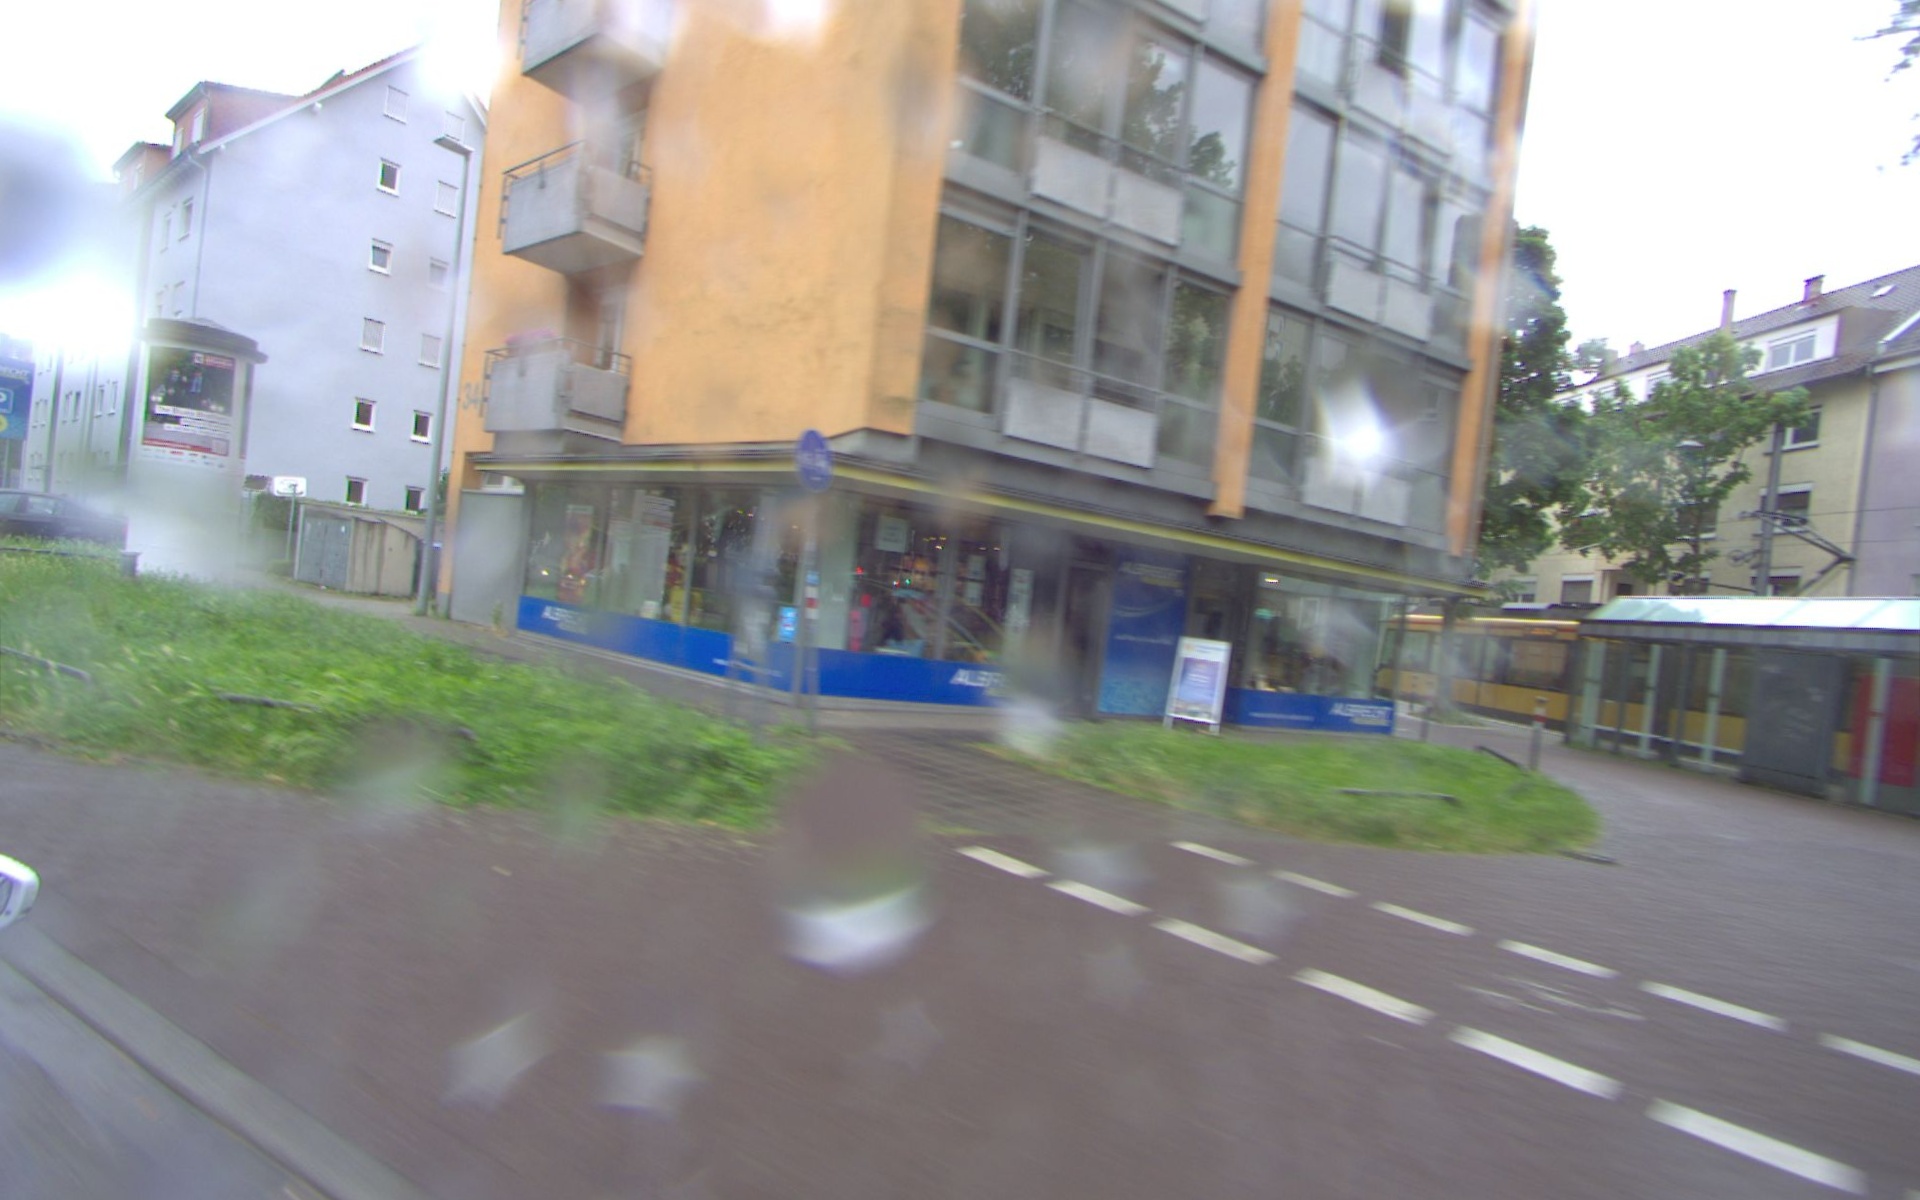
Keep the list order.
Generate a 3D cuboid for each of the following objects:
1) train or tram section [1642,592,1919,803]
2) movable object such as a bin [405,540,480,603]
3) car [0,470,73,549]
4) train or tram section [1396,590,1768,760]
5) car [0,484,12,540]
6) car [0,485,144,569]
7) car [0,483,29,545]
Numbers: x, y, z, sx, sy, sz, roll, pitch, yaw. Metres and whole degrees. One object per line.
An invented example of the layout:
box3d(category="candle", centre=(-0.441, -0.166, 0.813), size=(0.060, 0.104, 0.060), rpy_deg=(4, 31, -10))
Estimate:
box3d(category="train or tram section", centre=(16.677, 1.717, 17.766), size=(2.599, 3.392, 8.368), rpy_deg=(7, 0, -5))
box3d(category="movable object such as a bin", centre=(-13.213, -0.727, 25.682), size=(1.200, 1.400, 1.197), rpy_deg=(7, 1, 38))
box3d(category="car", centre=(-25.116, -2.443, 25.022), size=(1.915, 1.828, 4.229), rpy_deg=(7, 1, 37))
box3d(category="train or tram section", centre=(15.705, 1.624, 26.851), size=(2.599, 3.392, 9.977), rpy_deg=(7, 0, -5))
box3d(category="car", centre=(-29.351, -2.778, 27.887), size=(1.863, 1.590, 4.179), rpy_deg=(7, -1, 39))
box3d(category="car", centre=(-20.205, -1.664, 21.060), size=(1.955, 1.488, 4.526), rpy_deg=(7, 0, 40))
box3d(category="car", centre=(-27.367, -2.535, 26.262), size=(1.861, 1.587, 4.186), rpy_deg=(7, 0, 38))
